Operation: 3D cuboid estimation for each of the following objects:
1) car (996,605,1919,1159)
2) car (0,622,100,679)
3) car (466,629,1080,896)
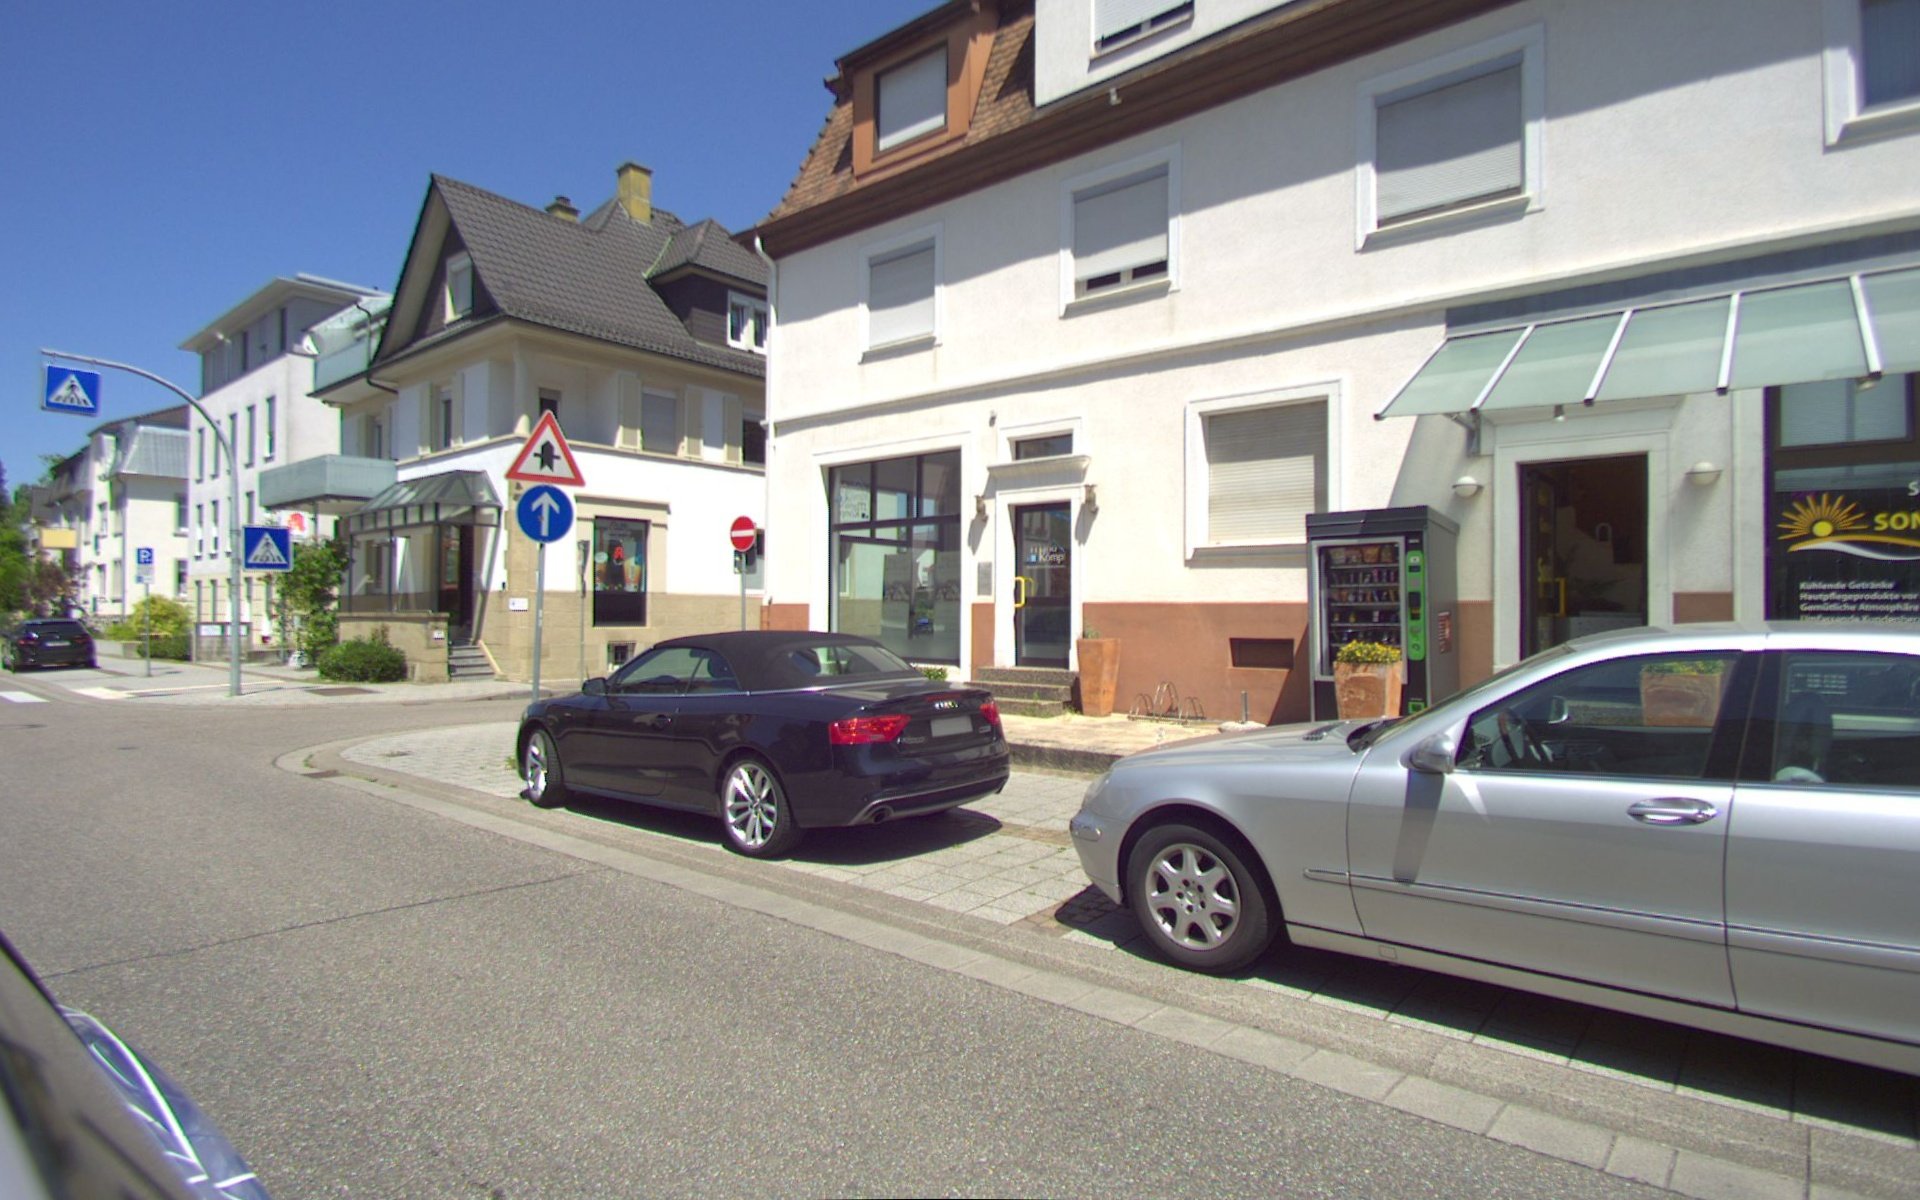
[{"bbox_3d":[2.821,0.762,3.752,5.355,1.463,1.960,-1,-1,42],"label":"car"},{"bbox_3d":[-27.146,1.433,29.912,5.147,1.463,1.897,-1,1,42],"label":"car"},{"bbox_3d":[-1.730,0.925,7.760,5.096,1.384,1.922,-1,-2,42],"label":"car"}]
